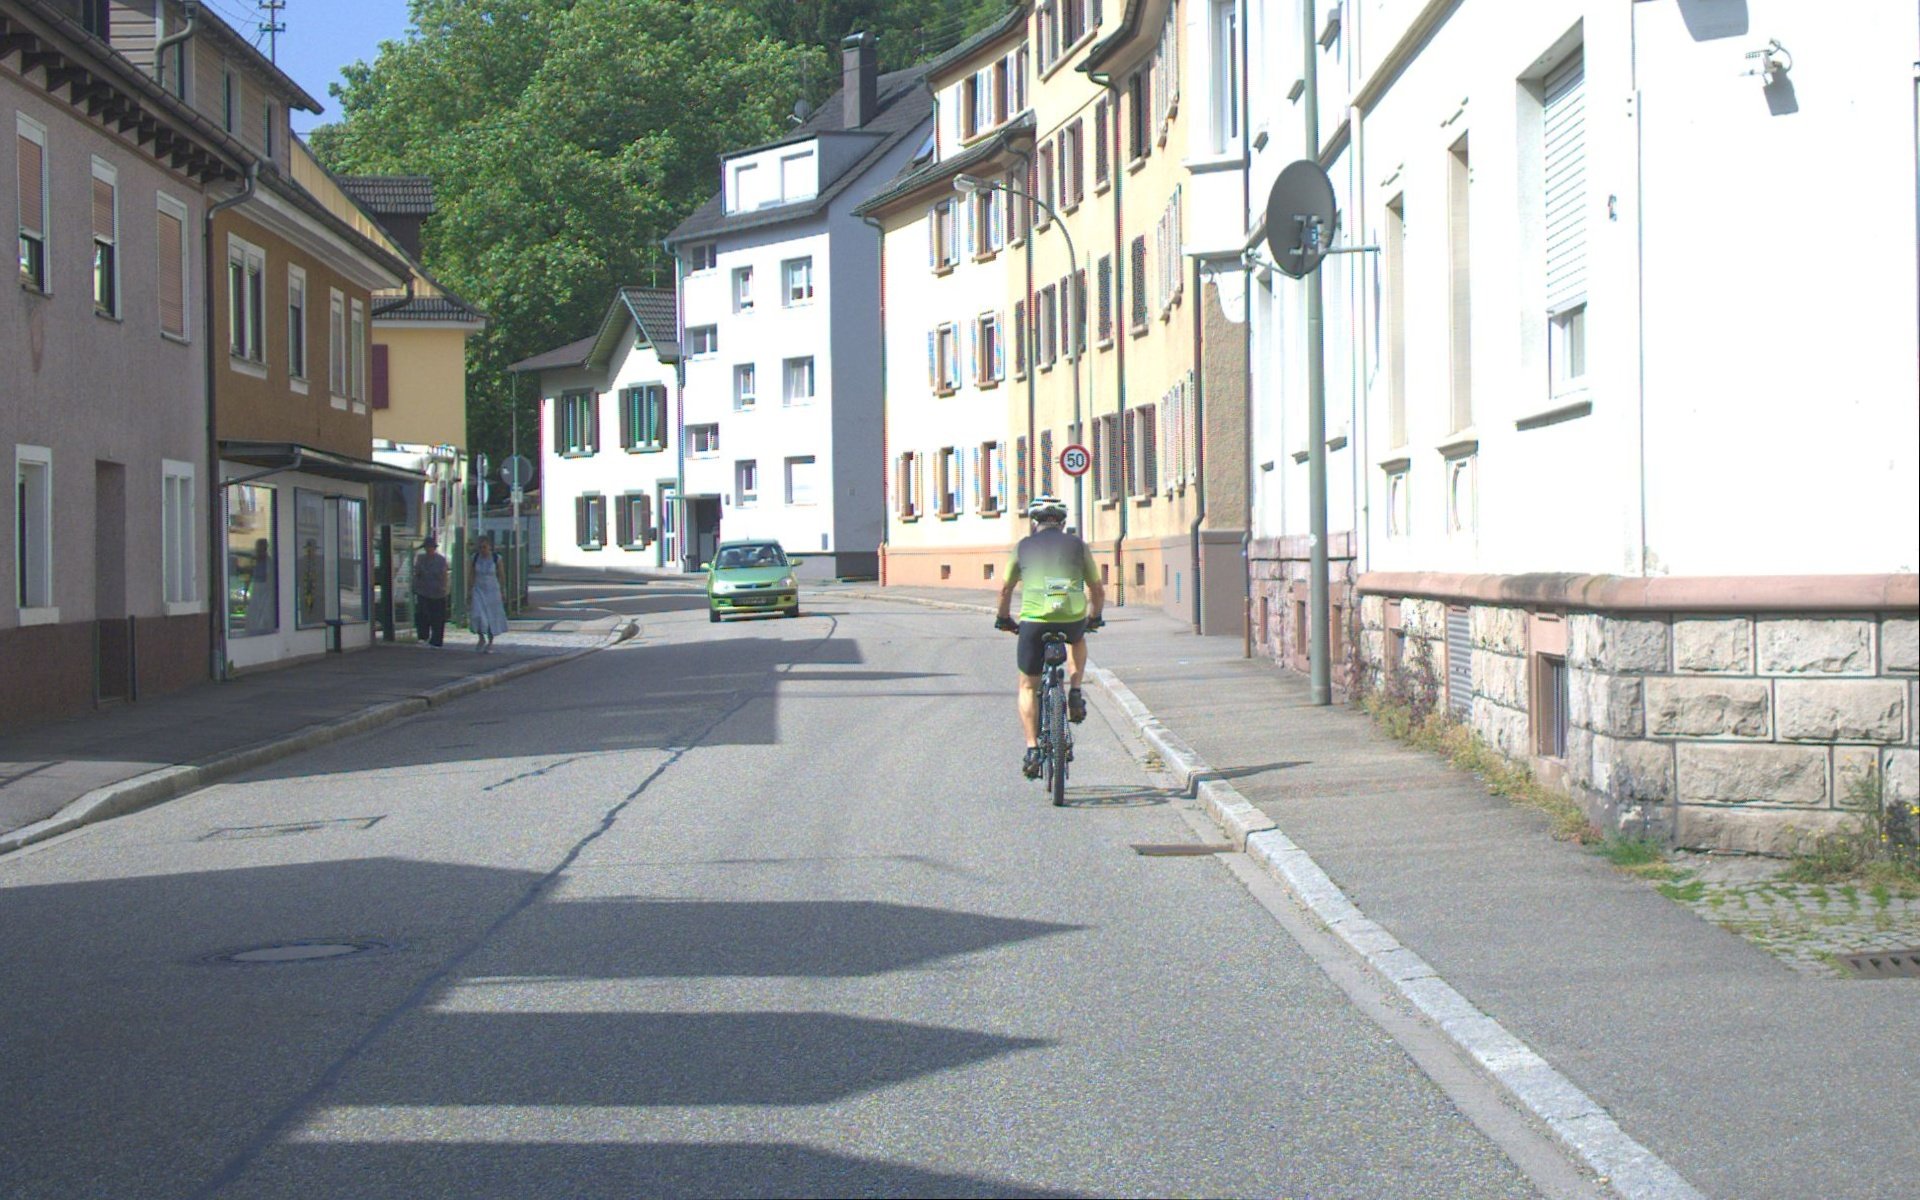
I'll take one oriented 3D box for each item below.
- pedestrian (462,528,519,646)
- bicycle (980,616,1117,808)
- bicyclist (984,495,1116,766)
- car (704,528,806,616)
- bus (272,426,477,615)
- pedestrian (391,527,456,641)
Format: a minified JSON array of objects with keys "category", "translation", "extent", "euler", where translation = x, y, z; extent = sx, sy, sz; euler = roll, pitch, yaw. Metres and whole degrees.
[{"category":"pedestrian","translation":[-6.601,-0.191,48.328],"extent":[0.639,1.621,0.777],"euler":[2,1,0]},{"category":"bicycle","translation":[0.499,0.630,19.973],"extent":[0.698,1.032,1.471],"euler":[0,1,-2]},{"category":"bicyclist","translation":[0.516,0.165,19.929],"extent":[0.685,1.526,0.716],"euler":[-1,1,-2]},{"category":"car","translation":[-3.746,-0.538,63.289],"extent":[1.596,1.459,3.660],"euler":[-4,1,0]},{"category":"bus","translation":[-10.733,-1.473,63.832],"extent":[2.820,3.217,9.037],"euler":[1,1,-4]},{"category":"pedestrian","translation":[-7.529,-0.237,48.258],"extent":[0.735,1.559,0.824],"euler":[2,1,0]}]
